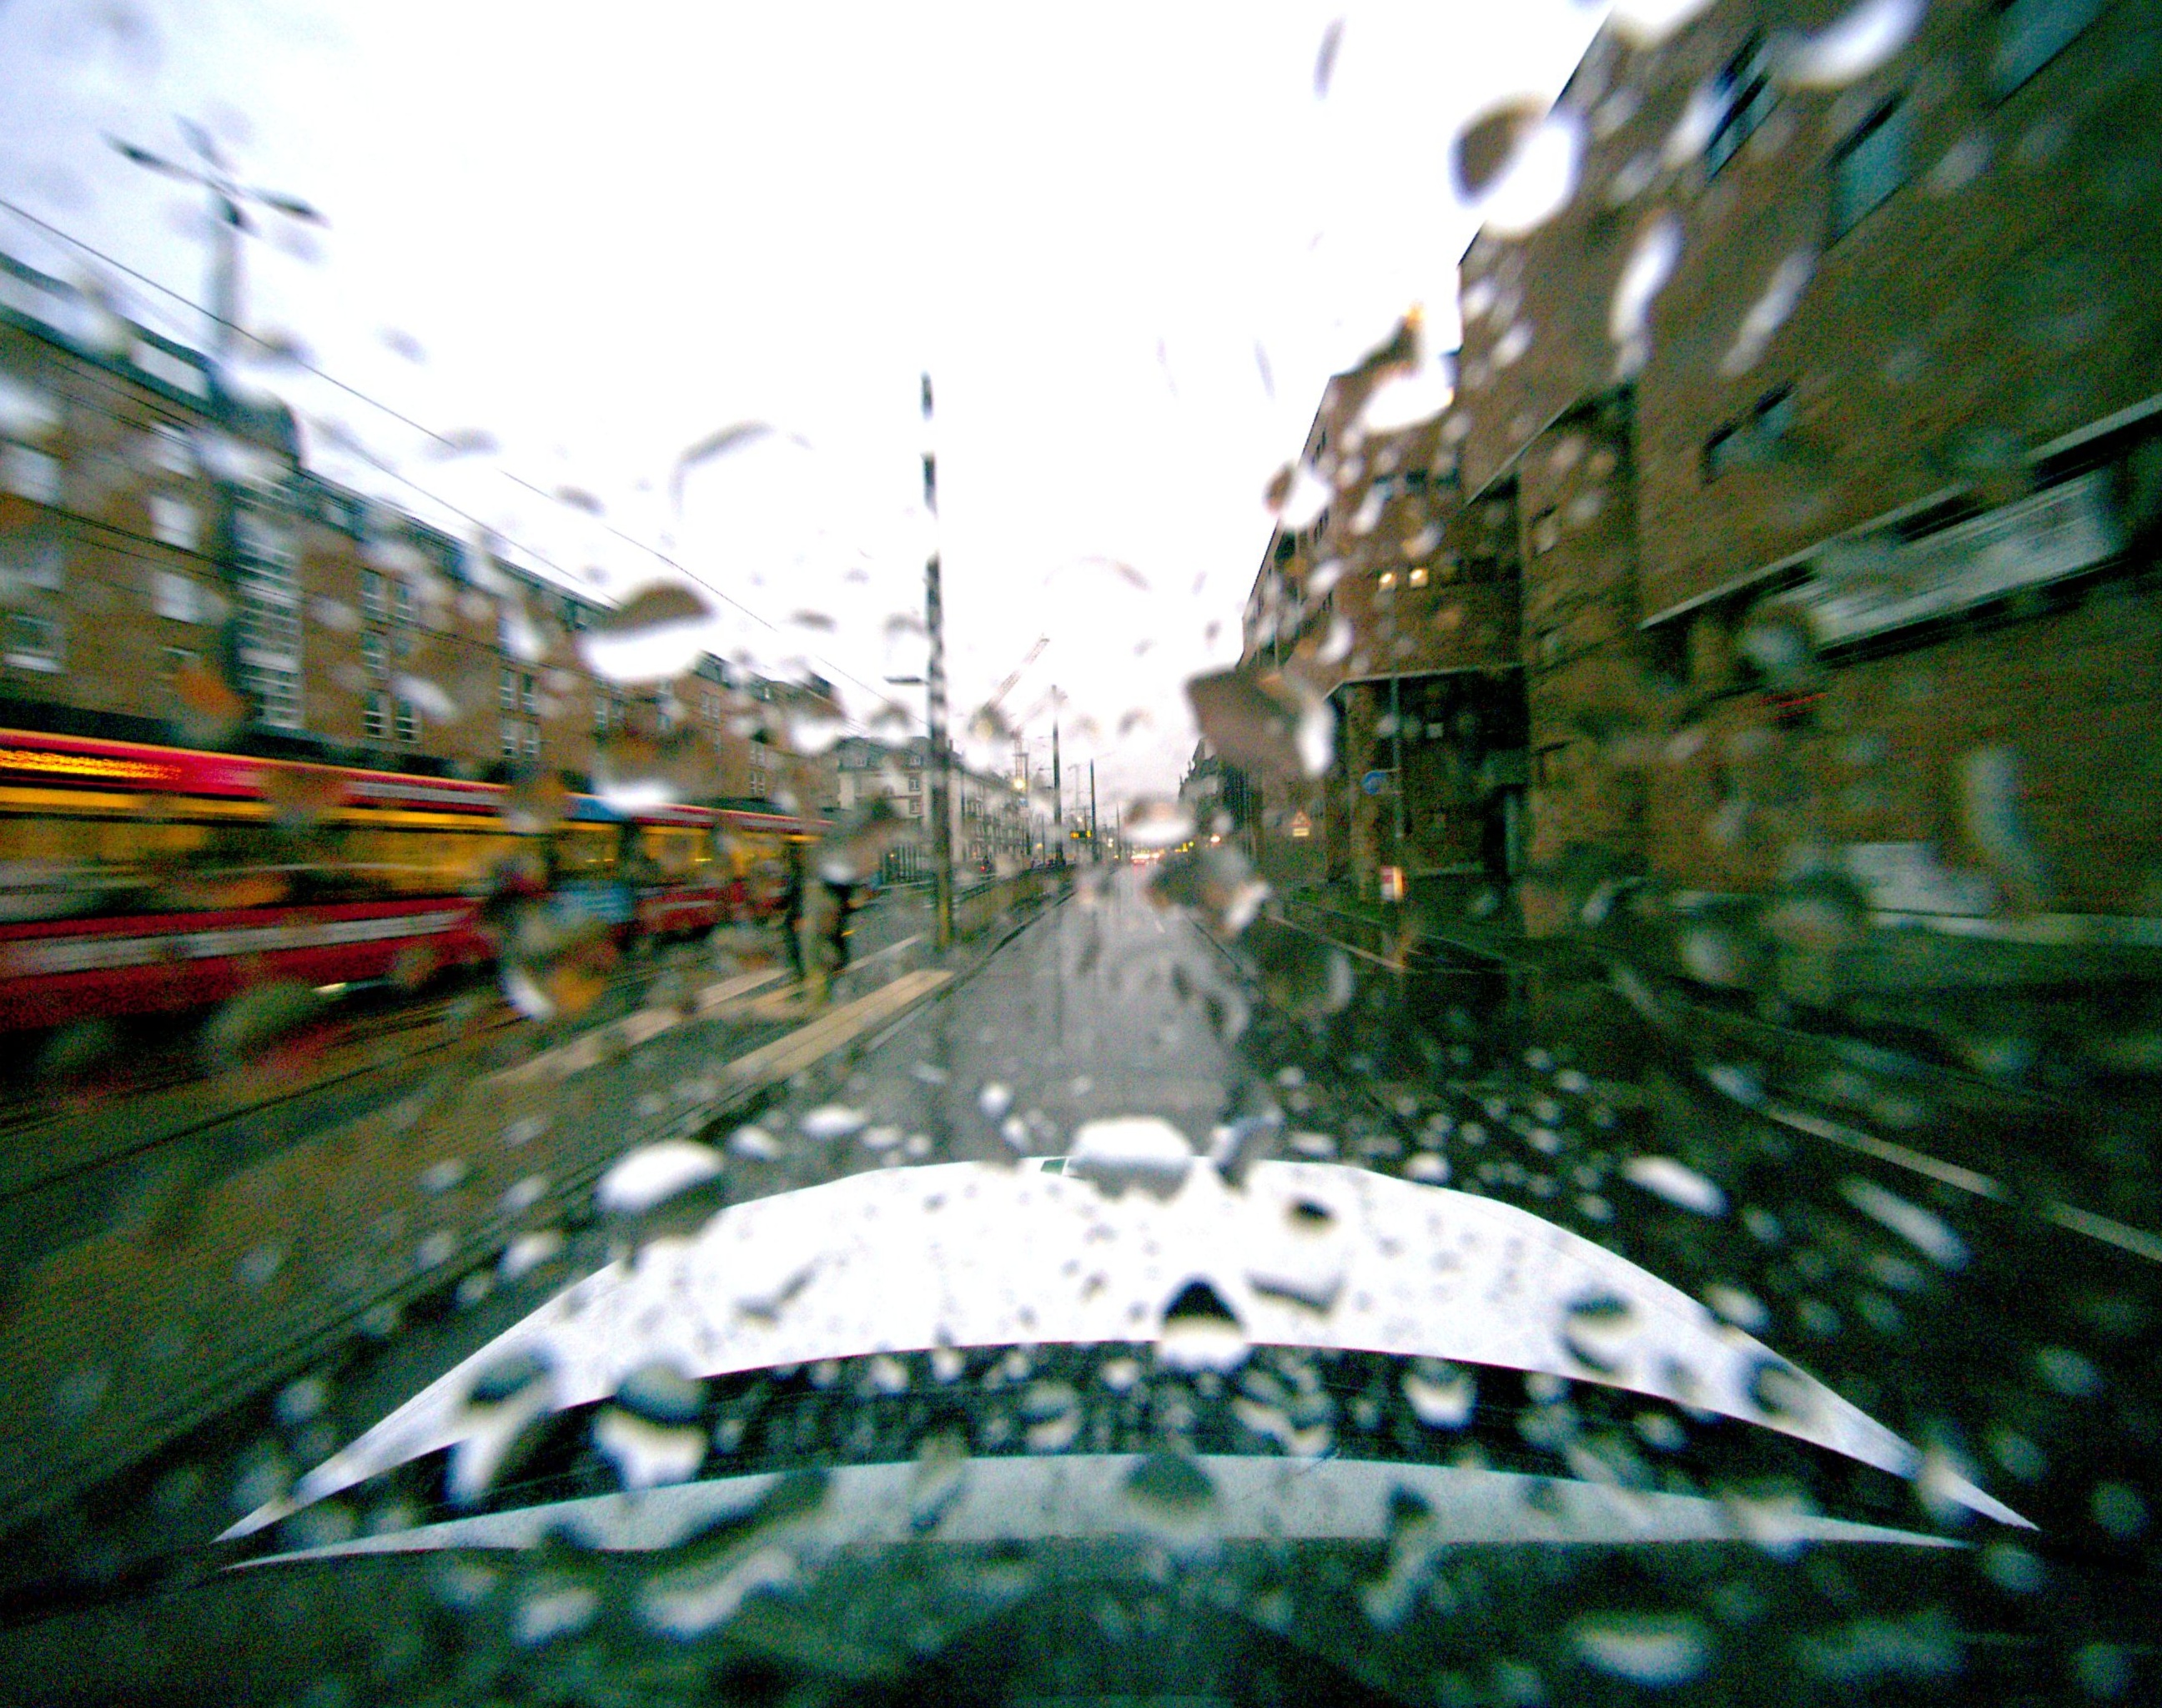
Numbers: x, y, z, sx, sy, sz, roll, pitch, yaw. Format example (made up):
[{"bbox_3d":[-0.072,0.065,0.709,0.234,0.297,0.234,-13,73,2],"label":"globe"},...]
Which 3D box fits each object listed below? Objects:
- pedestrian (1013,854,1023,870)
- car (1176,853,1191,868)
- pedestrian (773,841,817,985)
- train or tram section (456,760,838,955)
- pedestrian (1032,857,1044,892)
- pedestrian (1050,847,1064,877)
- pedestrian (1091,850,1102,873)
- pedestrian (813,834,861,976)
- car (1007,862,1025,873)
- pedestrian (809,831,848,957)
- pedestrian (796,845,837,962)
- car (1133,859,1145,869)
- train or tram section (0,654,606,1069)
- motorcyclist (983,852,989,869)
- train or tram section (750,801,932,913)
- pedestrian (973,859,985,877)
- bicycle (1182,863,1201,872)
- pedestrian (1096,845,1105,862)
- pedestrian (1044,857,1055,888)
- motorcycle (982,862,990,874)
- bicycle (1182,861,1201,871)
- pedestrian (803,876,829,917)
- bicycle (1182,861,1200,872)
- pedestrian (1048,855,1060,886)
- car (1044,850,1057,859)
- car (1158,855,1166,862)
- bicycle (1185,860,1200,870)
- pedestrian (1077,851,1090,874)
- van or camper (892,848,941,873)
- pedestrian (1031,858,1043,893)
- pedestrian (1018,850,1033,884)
[{"bbox_3d":[-6.754,0.858,87.149,0.801,1.780,0.813,0,-1,-37],"label":"pedestrian"},{"bbox_3d":[13.778,0.861,109.685,1.983,2.013,4.007,-2,0,6],"label":"car"},{"bbox_3d":[-3.637,0.732,10.367,0.358,1.787,0.440,-1,-1,-1],"label":"pedestrian"},{"bbox_3d":[-9.676,0.091,20.535,2.911,3.578,11.050,0,0,5],"label":"train or tram section"},{"bbox_3d":[-2.061,0.981,39.023,0.479,1.678,0.563,-2,-1,2],"label":"pedestrian"},{"bbox_3d":[-1.327,0.448,45.729,0.646,1.704,0.565,-1,-1,-14],"label":"pedestrian"},{"bbox_3d":[1.308,0.624,67.876,0.806,1.947,0.805,-2,0,5],"label":"pedestrian"},{"bbox_3d":[-3.280,0.672,10.971,0.410,1.845,0.669,-1,-1,0],"label":"pedestrian"},{"bbox_3d":[-8.167,1.640,102.626,1.674,1.354,3.549,-1,-1,4],"label":"car"},{"bbox_3d":[-4.037,0.626,13.016,0.432,1.967,0.473,-1,-1,-1],"label":"pedestrian"},{"bbox_3d":[-4.047,0.742,12.464,0.432,1.735,0.473,-1,-1,-1],"label":"pedestrian"},{"bbox_3d":[9.637,1.688,135.350,1.775,1.467,3.154,-2,0,6],"label":"car"},{"bbox_3d":[-10.678,0.079,8.858,2.936,3.589,12.272,0,0,5],"label":"train or tram section"},{"bbox_3d":[-8.346,0.596,71.698,0.497,1.496,0.556,0,-1,-1],"label":"motorcyclist"},{"bbox_3d":[-8.731,0.126,31.614,2.886,3.568,11.050,0,0,5],"label":"train or tram section"},{"bbox_3d":[-8.504,1.175,67.829,0.639,1.524,0.748,0,-1,-37],"label":"pedestrian"},{"bbox_3d":[13.442,1.653,99.075,2.135,1.055,0.485,-3,-1,3],"label":"bicycle"},{"bbox_3d":[1.711,-0.050,73.049,0.679,1.516,0.617,-1,-1,-8],"label":"pedestrian"},{"bbox_3d":[-1.765,0.999,45.261,0.537,1.692,0.644,-2,-1,2],"label":"pedestrian"},{"bbox_3d":[-8.346,1.201,71.702,0.511,1.008,1.807,0,0,1],"label":"motorcycle"},{"bbox_3d":[13.385,1.451,98.451,2.135,1.055,0.426,-4,1,3],"label":"bicycle"},{"bbox_3d":[-7.653,1.219,23.522,0.577,1.152,0.491,0,-1,6],"label":"pedestrian"},{"bbox_3d":[13.110,1.462,96.992,1.999,1.095,0.425,-5,-1,3],"label":"bicycle"},{"bbox_3d":[-1.390,0.846,41.811,0.537,1.590,0.563,-2,-1,2],"label":"pedestrian"},{"bbox_3d":[-4.668,0.138,124.792,1.674,1.354,3.549,-1,-1,4],"label":"car"},{"bbox_3d":[20.126,1.038,203.306,1.789,1.604,3.777,-2,0,7],"label":"car"},{"bbox_3d":[13.082,1.286,95.361,1.722,1.055,0.371,-3,-1,3],"label":"bicycle"},{"bbox_3d":[0.207,0.651,60.740,0.777,1.704,0.769,-1,-1,-14],"label":"pedestrian"},{"bbox_3d":[-17.959,0.710,89.216,2.755,2.682,6.776,0,0,12],"label":"van or camper"},{"bbox_3d":[-2.038,0.990,37.965,0.479,1.590,0.563,-2,-1,2],"label":"pedestrian"},{"bbox_3d":[-2.699,0.626,39.444,0.616,1.590,0.622,-2,-1,2],"label":"pedestrian"}]
